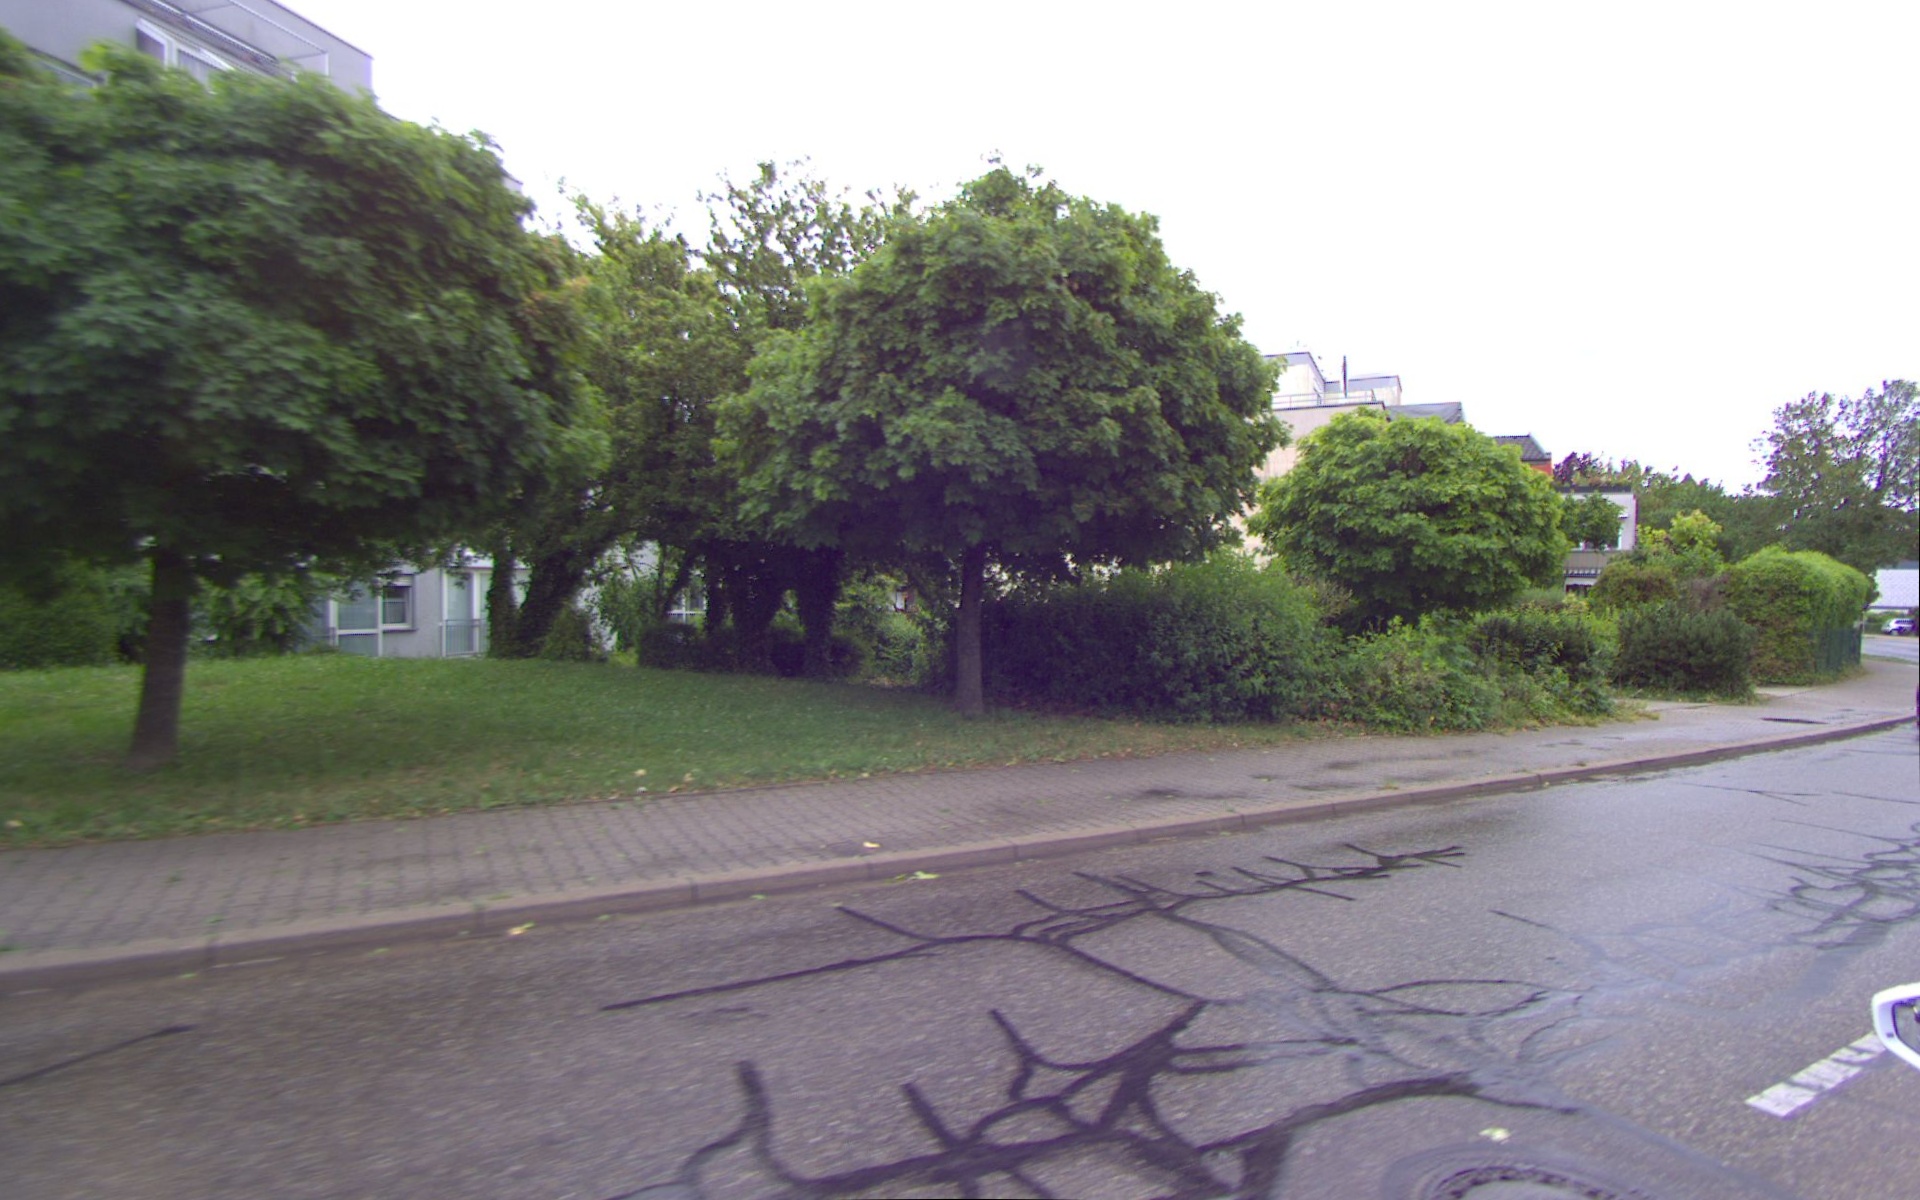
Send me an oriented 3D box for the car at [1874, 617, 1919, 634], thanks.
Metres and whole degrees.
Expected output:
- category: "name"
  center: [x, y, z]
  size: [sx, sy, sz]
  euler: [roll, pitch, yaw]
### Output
- category: "car"
  center: [82.279, 2.209, 87.235]
  size: [3.924, 1.461, 1.846]
  euler: [1, 0, 24]
